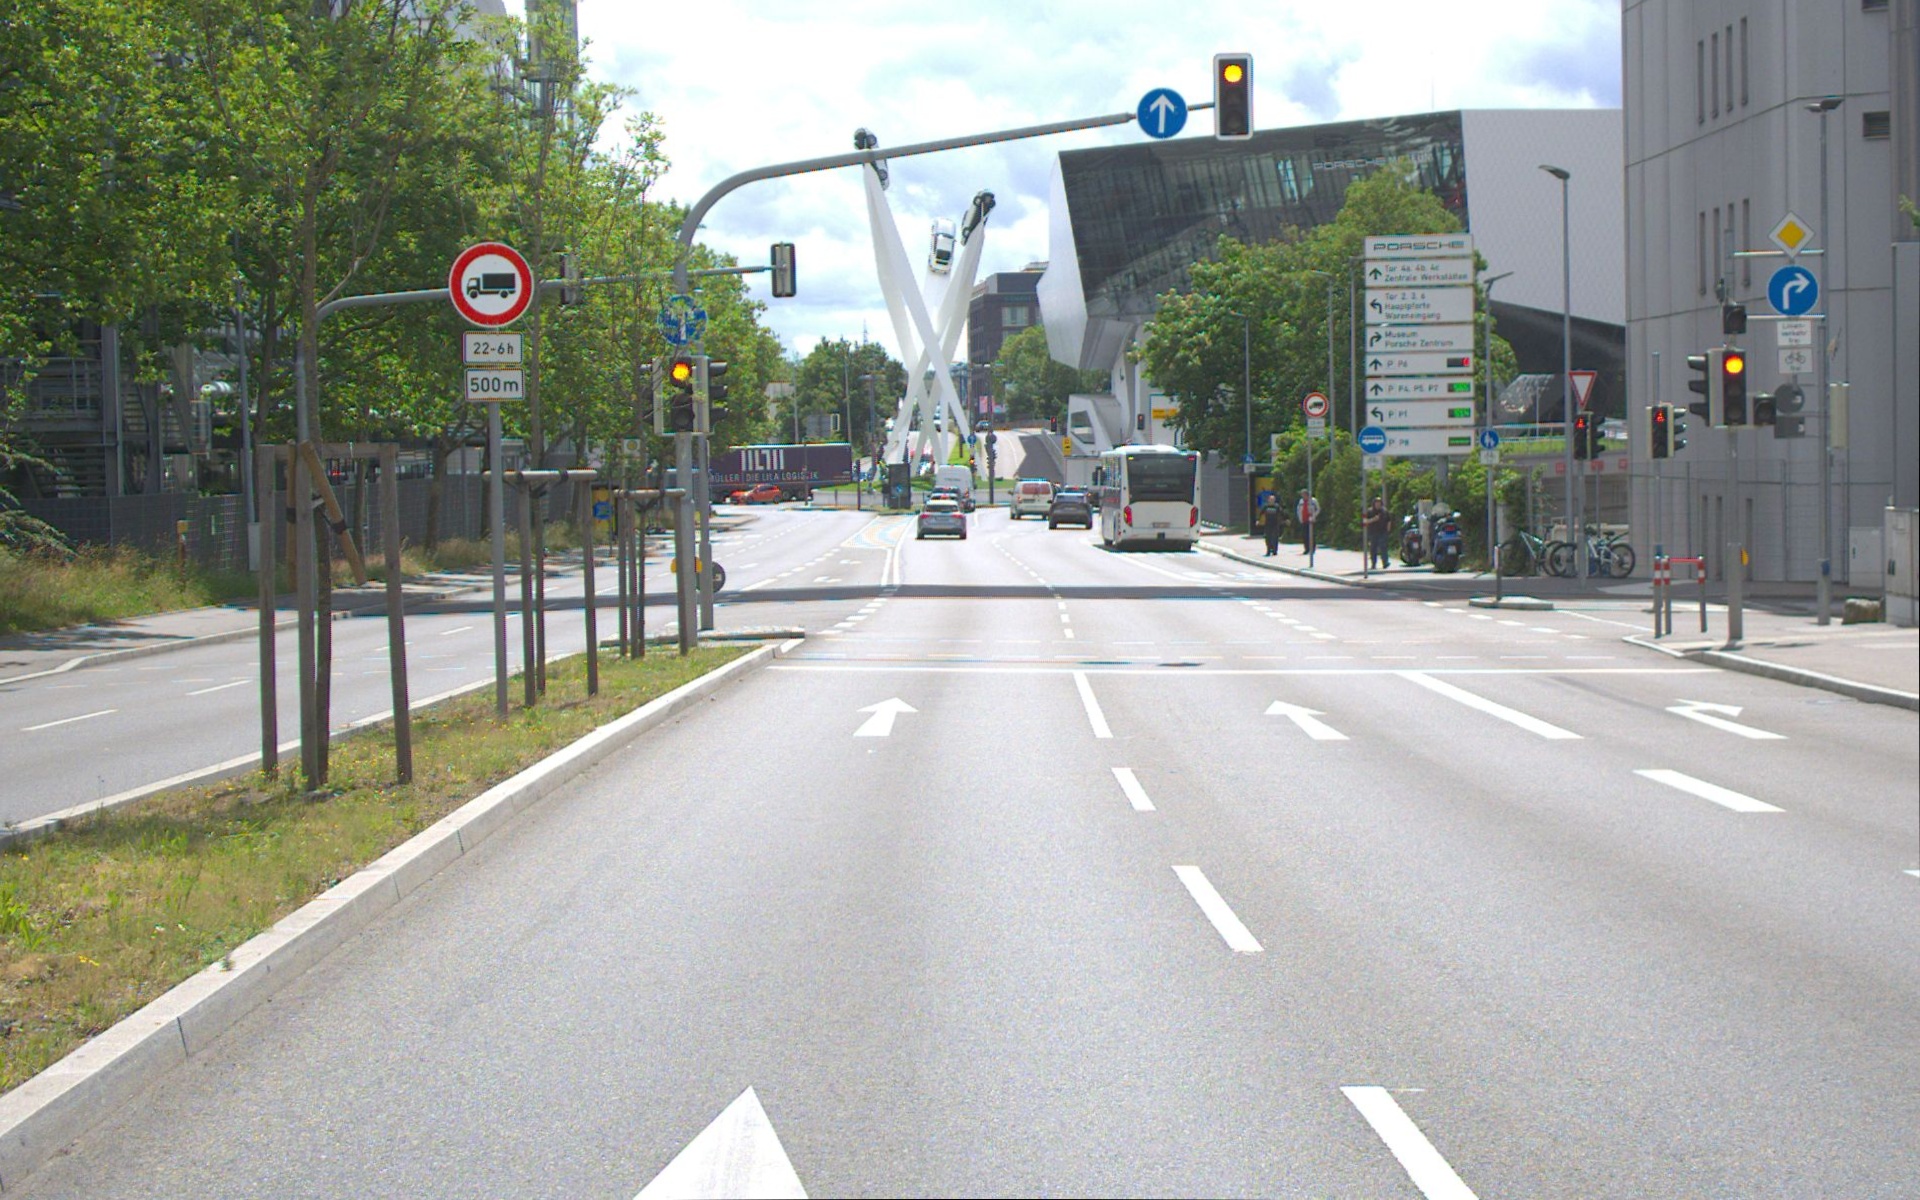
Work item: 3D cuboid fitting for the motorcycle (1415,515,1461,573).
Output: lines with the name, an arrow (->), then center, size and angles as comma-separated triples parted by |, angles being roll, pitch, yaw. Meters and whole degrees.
motorcycle -> 10.394, -1.233, 74.776 | 0.706, 1.199, 2.024 | -2, 2, 1

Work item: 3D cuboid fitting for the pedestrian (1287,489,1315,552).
pedestrian -> 9.480, -2.209, 95.592 | 0.635, 1.735, 0.823 | 0, 1, -5

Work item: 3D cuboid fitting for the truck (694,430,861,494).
truck -> -13.648, -10.283, 257.430 | 12.126, 4.309, 3.575 | 1, 0, -29

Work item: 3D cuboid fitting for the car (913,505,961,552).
car -> -0.847, -2.669, 128.138 | 1.738, 1.735, 3.691 | 0, 1, 1

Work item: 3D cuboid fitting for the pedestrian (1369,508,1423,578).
pedestrian -> 10.123, -1.326, 79.847 | 0.849, 1.619, 0.954 | 1, 2, 42

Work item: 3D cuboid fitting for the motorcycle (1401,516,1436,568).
motorcycle -> 11.035, -1.400, 82.764 | 0.574, 1.199, 2.024 | -2, 2, 1

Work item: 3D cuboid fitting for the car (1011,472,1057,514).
car -> 3.762, -5.447, 175.472 | 1.993, 2.007, 4.000 | 1, 0, -3

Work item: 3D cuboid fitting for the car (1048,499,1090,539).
car -> 4.725, -3.512, 149.403 | 1.738, 1.735, 3.691 | 0, 1, 1

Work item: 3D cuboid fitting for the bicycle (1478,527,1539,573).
bicycle -> 11.329, -1.044, 71.046 | 0.397, 0.933, 1.929 | 0, 1, -18

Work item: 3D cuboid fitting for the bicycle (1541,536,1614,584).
bicycle -> 12.331, -0.800, 68.743 | 0.397, 0.933, 1.929 | 0, 1, -25

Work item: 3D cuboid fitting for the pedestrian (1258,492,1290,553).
pedestrian -> 8.795, -2.160, 96.370 | 0.820, 1.701, 0.881 | 0, 1, 1

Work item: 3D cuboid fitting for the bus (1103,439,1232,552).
bus -> 6.715, -3.403, 112.885 | 3.452, 3.531, 10.607 | 0, 1, -1

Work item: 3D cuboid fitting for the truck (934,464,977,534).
truck -> -0.253, -5.739, 195.820 | 2.392, 3.884, 6.177 | 0, 1, 1

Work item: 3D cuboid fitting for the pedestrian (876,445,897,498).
pedestrian -> -4.961, -8.650, 231.388 | 1.416, 3.588, 1.283 | 0, 1, -1

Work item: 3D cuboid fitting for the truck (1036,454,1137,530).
truck -> 7.460, -6.286, 201.708 | 3.455, 4.376, 9.412 | 1, 1, 18
